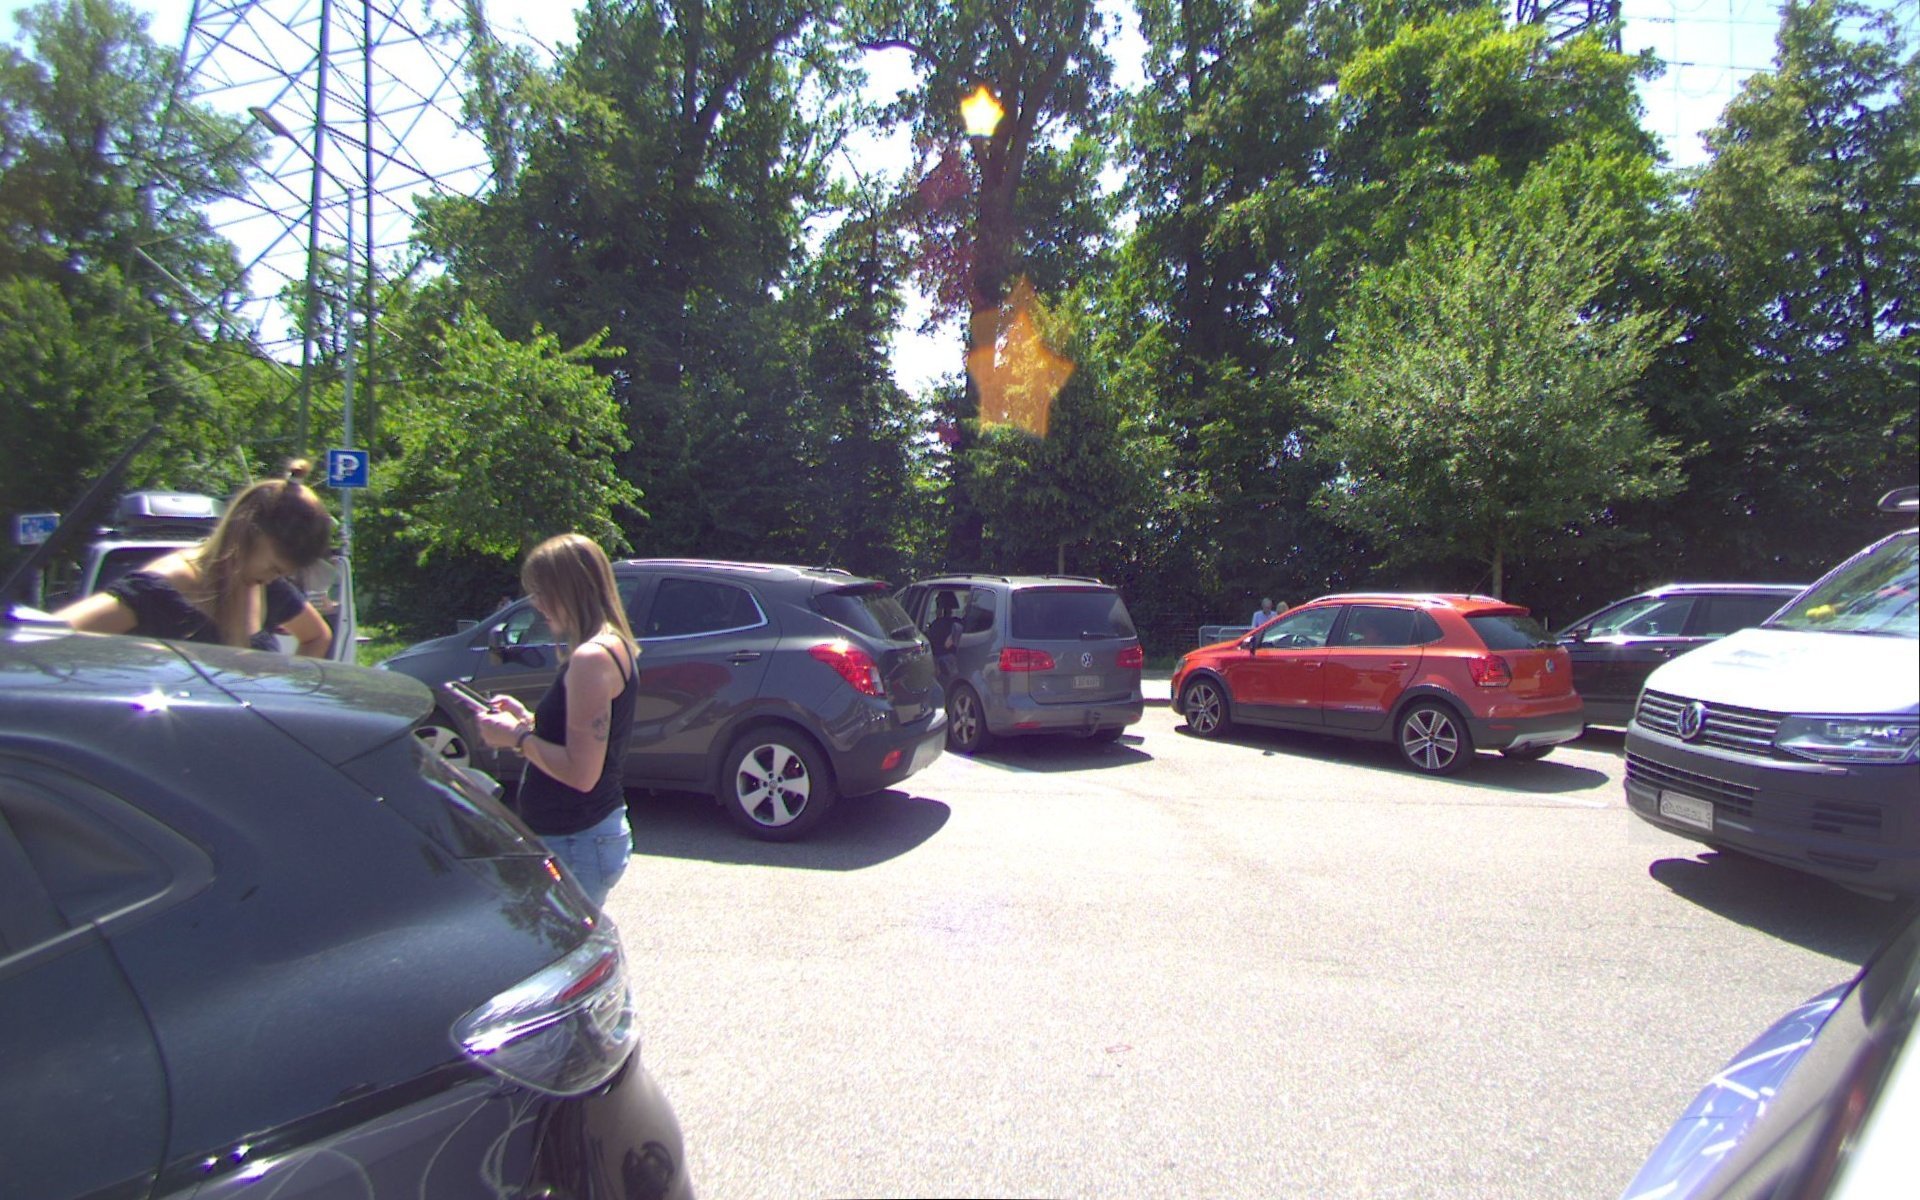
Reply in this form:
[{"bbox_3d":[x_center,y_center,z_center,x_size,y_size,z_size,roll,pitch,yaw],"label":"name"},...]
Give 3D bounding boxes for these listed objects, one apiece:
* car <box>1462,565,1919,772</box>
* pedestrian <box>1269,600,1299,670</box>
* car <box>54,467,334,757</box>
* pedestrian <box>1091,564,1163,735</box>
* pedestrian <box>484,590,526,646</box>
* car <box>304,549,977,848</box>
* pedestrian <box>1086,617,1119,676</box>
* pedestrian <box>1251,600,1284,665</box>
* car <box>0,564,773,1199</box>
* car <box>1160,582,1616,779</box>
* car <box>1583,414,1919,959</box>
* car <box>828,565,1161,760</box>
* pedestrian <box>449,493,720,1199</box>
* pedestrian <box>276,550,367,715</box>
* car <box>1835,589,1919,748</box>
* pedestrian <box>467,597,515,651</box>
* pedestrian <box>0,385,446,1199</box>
[{"bbox_3d":[7.174,0.538,9.748,1.679,1.637,3.863,1,0,-40],"label":"car"},{"bbox_3d":[5.712,0.614,17.842,0.348,1.207,0.367,0,0,-20],"label":"pedestrian"},{"bbox_3d":[-8.366,0.091,10.843,1.897,2.400,4.963,1,-1,-43],"label":"car"},{"bbox_3d":[1.749,0.497,10.631,0.576,1.744,0.483,0,0,-20],"label":"pedestrian"},{"bbox_3d":[-11.020,0.426,24.531,0.539,1.318,0.758,0,0,37],"label":"pedestrian"},{"bbox_3d":[-2.090,0.519,6.991,4.107,1.637,1.830,1,0,15],"label":"car"},{"bbox_3d":[2.224,0.712,15.727,0.494,0.890,0.512,0,-2,10],"label":"pedestrian"},{"bbox_3d":[5.791,0.603,19.052,0.433,1.207,0.414,0,0,-30],"label":"pedestrian"},{"bbox_3d":[-2.130,0.717,0.691,1.775,1.476,3.629,0,0,43],"label":"car"},{"bbox_3d":[3.836,0.607,9.653,1.588,1.485,3.751,1,0,-34],"label":"car"},{"bbox_3d":[6.201,0.357,4.694,5.336,2.131,1.842,1,1,4],"label":"car"},{"bbox_3d":[0.155,0.510,10.618,1.670,1.637,3.912,0,0,-30],"label":"car"},{"bbox_3d":[-0.966,0.569,2.600,0.477,1.614,0.502,1,-1,-44],"label":"pedestrian"},{"bbox_3d":[-7.721,0.370,12.242,0.825,1.903,0.775,0,0,-41],"label":"pedestrian"},{"bbox_3d":[10.381,0.652,8.906,1.813,1.473,3.776,1,0,-36],"label":"car"},{"bbox_3d":[-10.527,0.532,22.713,0.785,1.178,0.696,0,0,39],"label":"pedestrian"},{"bbox_3d":[-1.749,0.504,2.530,0.478,1.883,0.913,1,-1,-3],"label":"pedestrian"}]
